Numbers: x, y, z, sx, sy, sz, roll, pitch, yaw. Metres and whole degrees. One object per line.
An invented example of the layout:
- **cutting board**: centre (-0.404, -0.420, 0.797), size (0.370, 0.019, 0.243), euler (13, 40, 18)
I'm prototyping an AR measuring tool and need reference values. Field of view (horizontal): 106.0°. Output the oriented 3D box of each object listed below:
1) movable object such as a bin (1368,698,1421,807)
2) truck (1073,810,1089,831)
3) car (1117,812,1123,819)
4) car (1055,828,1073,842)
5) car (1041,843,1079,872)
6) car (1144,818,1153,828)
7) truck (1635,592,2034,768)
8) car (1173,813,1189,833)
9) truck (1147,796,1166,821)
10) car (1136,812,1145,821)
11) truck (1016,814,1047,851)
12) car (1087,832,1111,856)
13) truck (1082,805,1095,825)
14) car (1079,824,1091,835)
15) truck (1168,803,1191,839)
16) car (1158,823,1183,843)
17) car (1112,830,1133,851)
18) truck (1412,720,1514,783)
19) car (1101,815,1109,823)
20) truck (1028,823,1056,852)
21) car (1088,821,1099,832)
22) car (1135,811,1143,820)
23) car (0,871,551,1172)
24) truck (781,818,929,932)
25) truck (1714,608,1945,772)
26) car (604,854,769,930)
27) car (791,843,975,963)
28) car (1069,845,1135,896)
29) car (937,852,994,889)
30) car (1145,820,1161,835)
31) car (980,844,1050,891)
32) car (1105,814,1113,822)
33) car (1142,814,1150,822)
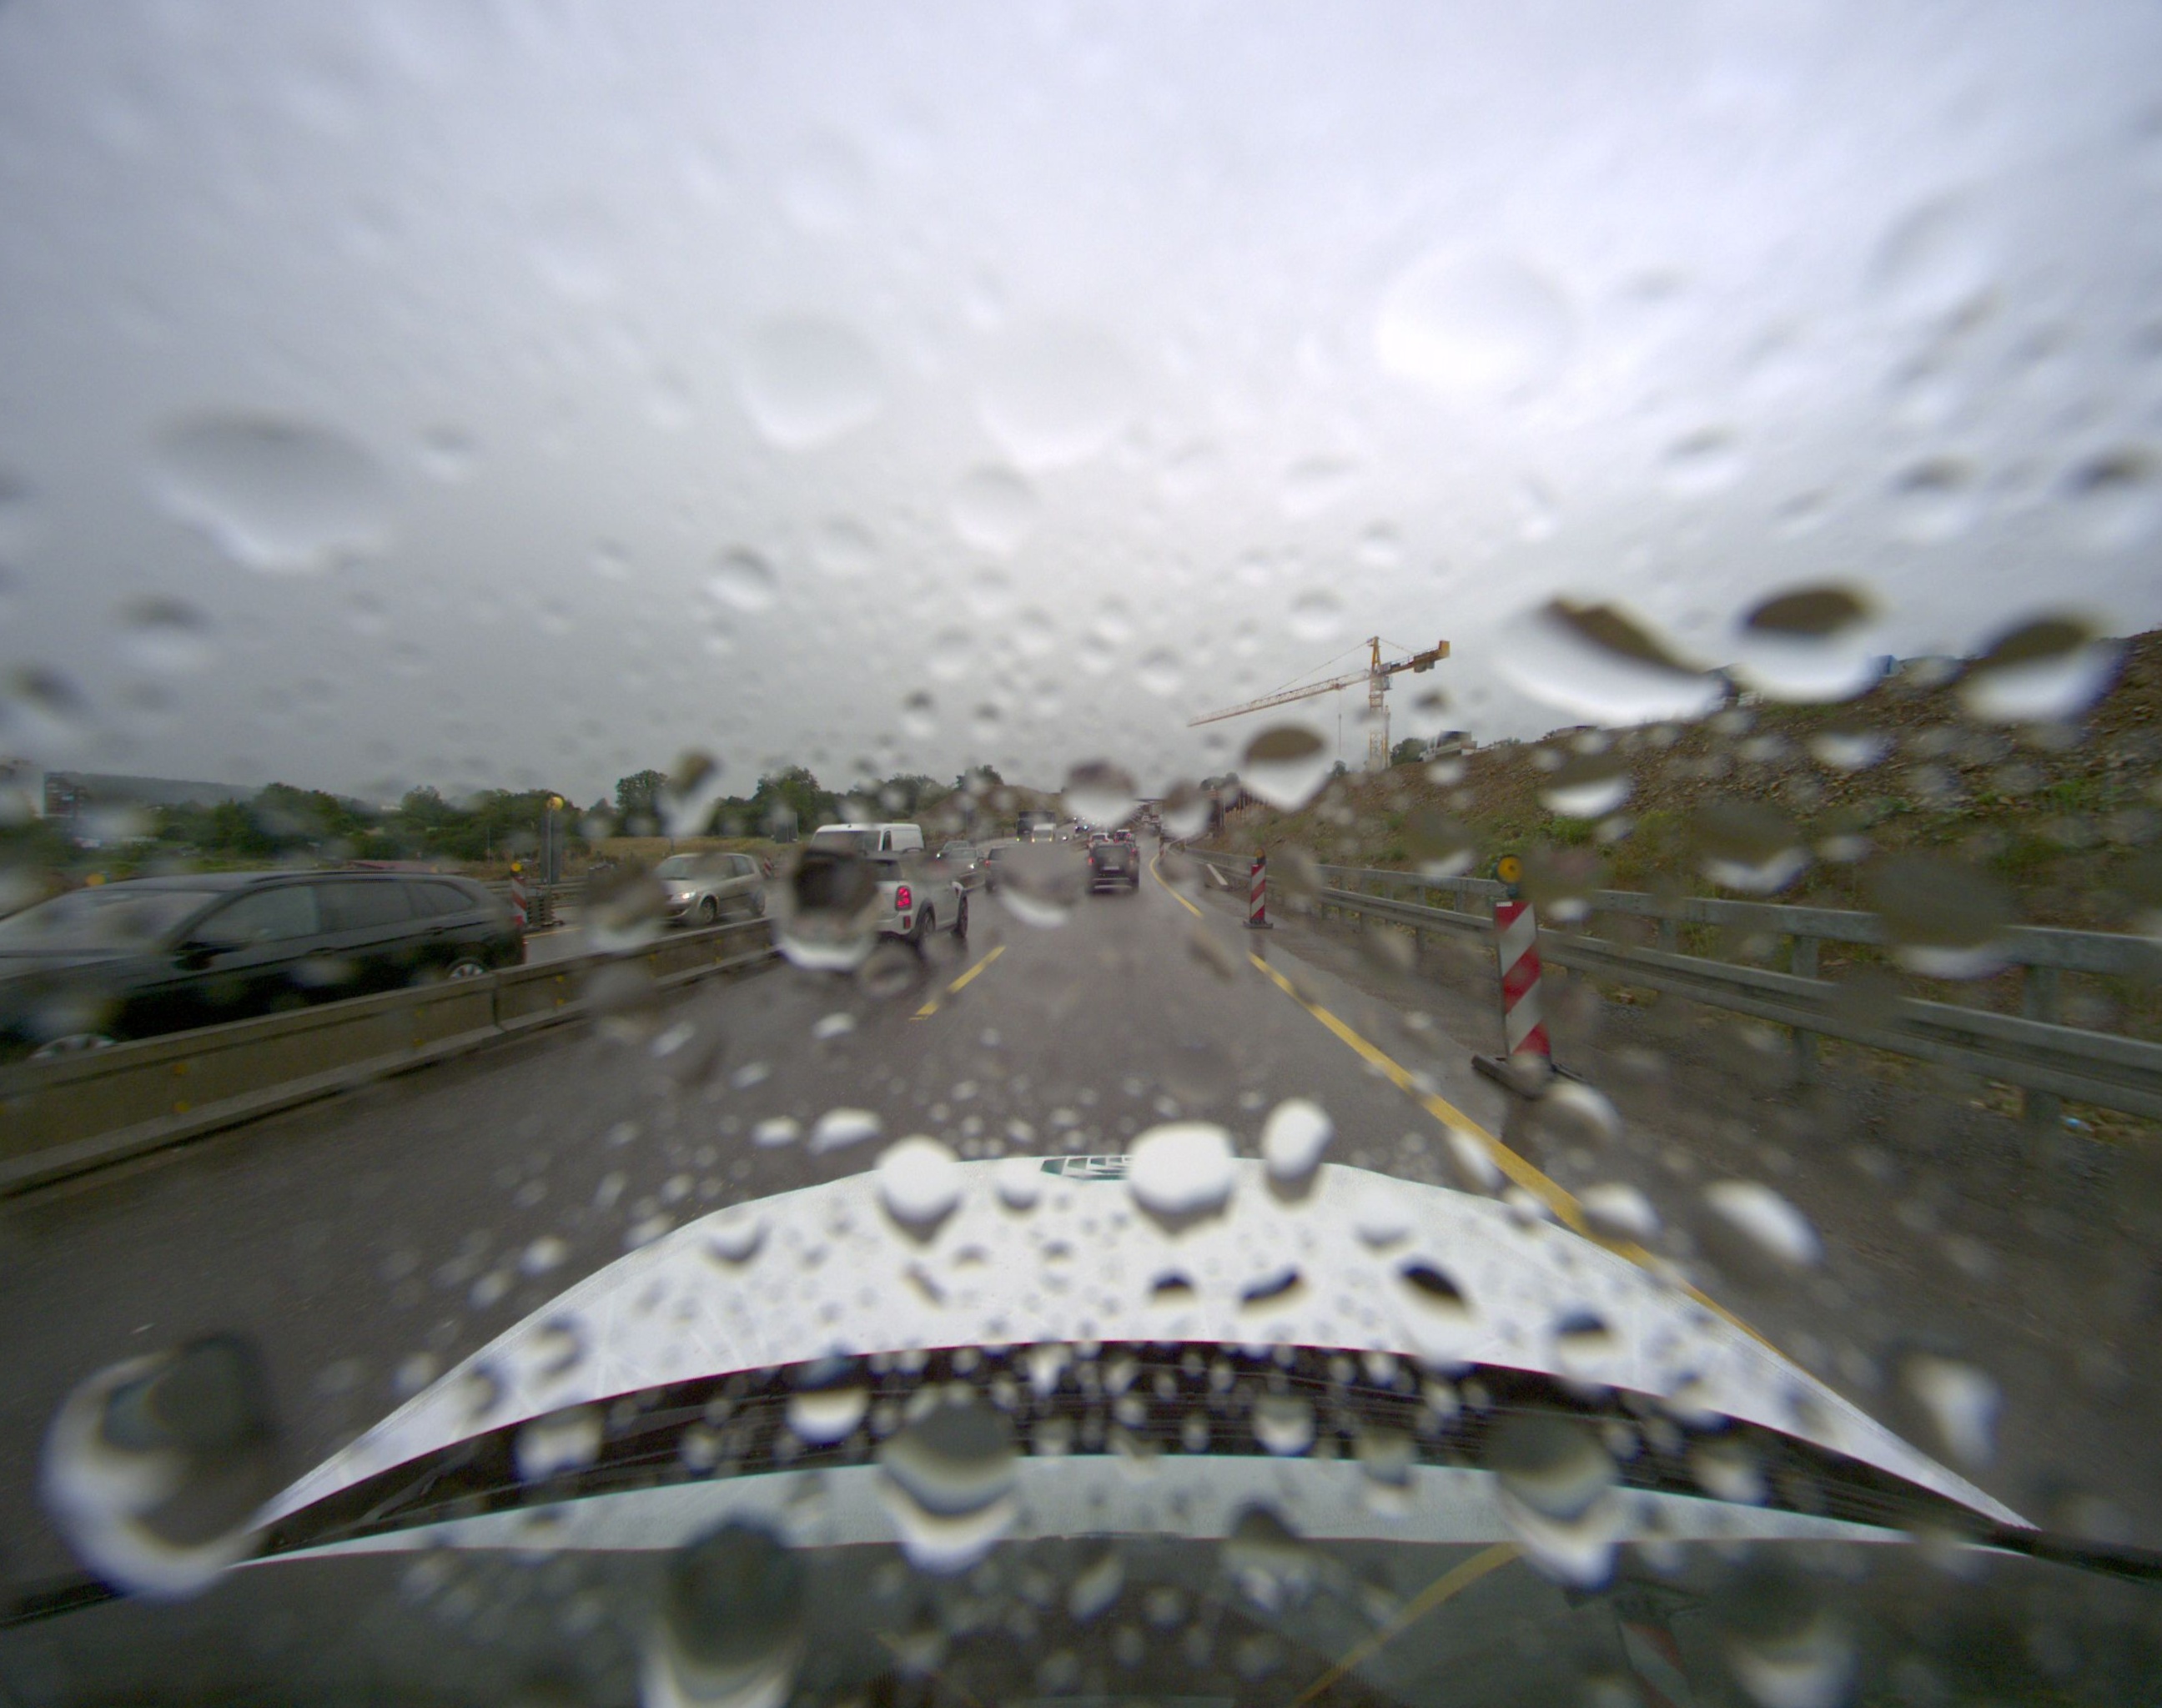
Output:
- **movable object such as a bin**: centre (35.466, -11.213, 92.716), size (4.682, 10.842, 10.348), euler (-1, -1, 17)
- **truck**: centre (0.080, -7.855, 191.946), size (3.070, 4.919, 8.573), euler (-1, 1, 3)
- **car**: centre (12.514, -12.466, 261.244), size (1.986, 2.014, 4.002), euler (-1, -1, 2)
- **car**: centre (-1.939, -2.175, 93.507), size (1.862, 1.471, 4.673), euler (-1, 1, 1)
- **car**: centre (-1.200, 0.235, 47.793), size (1.986, 1.600, 4.141), euler (-1, -1, 1)
- **car**: centre (14.690, -6.811, 178.242), size (1.841, 1.894, 4.025), euler (-1, -1, 3)
- **truck**: centre (20.084, -4.400, 22.920), size (3.380, 2.875, 8.970), euler (-1, -1, 4)
- **car**: centre (14.175, -4.325, 115.149), size (1.982, 2.484, 4.993), euler (-1, -1, 8)
- **truck**: centre (18.230, -10.916, 197.130), size (3.789, 5.043, 12.926), euler (-1, -1, 2)
- **car**: centre (14.271, -8.878, 195.200), size (1.986, 2.013, 4.003), euler (-2, 1, 2)
- **truck**: centre (-5.489, -2.438, 91.764), size (2.632, 3.969, 9.217), euler (-1, 2, 1)
- **car**: centre (1.560, -0.844, 70.782), size (1.986, 2.014, 3.895), euler (-1, -1, 2)
- **truck**: centre (2.112, -10.727, 224.308), size (3.128, 5.417, 8.532), euler (-1, 1, 3)
- **car**: centre (0.665, -3.850, 127.243), size (1.730, 1.684, 5.556), euler (0, 2, 3)
- **truck**: centre (16.585, -5.406, 136.612), size (3.082, 5.426, 9.469), euler (-1, -1, 10)
- **car**: centre (10.176, -2.337, 92.611), size (1.977, 2.163, 4.160), euler (-1, -1, 18)
- **car**: centre (4.512, -1.430, 87.711), size (1.984, 2.163, 4.146), euler (-1, -1, 5)
- **truck**: centre (21.245, -5.638, 45.795), size (2.635, 2.555, 6.987), euler (-1, -1, 2)
- **car**: centre (6.940, -10.179, 238.129), size (2.229, 2.358, 4.882), euler (-1, 1, 3)
- **truck**: centre (-3.667, -1.564, 77.656), size (2.139, 2.713, 6.019), euler (-1, 1, 2)
- **car**: centre (2.235, -5.024, 147.321), size (1.778, 1.810, 4.502), euler (-1, -1, 3)
- **car**: centre (15.635, -10.358, 218.960), size (1.986, 2.013, 4.003), euler (-2, 1, 2)
- **car**: centre (-6.572, 0.958, 6.256), size (1.765, 1.504, 4.681), euler (-1, 0, 2)
- **truck**: centre (-5.769, 0.519, 21.741), size (2.070, 2.576, 5.964), euler (-1, -1, 2)
- **truck**: centre (24.863, -5.243, 27.526), size (2.364, 4.218, 5.982), euler (-1, -1, 2)
- **car**: centre (-9.090, 0.795, 19.160), size (1.781, 1.546, 4.002), euler (-1, 0, 2)
- **car**: centre (-2.978, 0.666, 13.240), size (1.809, 1.600, 4.309), euler (-1, 0, 1)
- **car**: centre (0.788, 0.542, 27.904), size (2.072, 1.600, 4.144), euler (-1, -1, 3)
- **car**: centre (-5.192, 0.690, 37.161), size (1.780, 1.538, 4.314), euler (-1, 0, 2)
- **car**: centre (9.509, -3.432, 107.532), size (1.985, 1.761, 3.817), euler (-1, -1, 3)
- **car**: centre (-2.366, 0.499, 30.256), size (1.985, 1.600, 4.144), euler (-1, -1, 3)
- **car**: centre (8.712, -11.120, 252.167), size (2.207, 2.370, 4.668), euler (-1, 1, 3)
- **car**: centre (18.724, -10.351, 234.333), size (1.986, 2.014, 4.001), euler (-1, -1, 2)
